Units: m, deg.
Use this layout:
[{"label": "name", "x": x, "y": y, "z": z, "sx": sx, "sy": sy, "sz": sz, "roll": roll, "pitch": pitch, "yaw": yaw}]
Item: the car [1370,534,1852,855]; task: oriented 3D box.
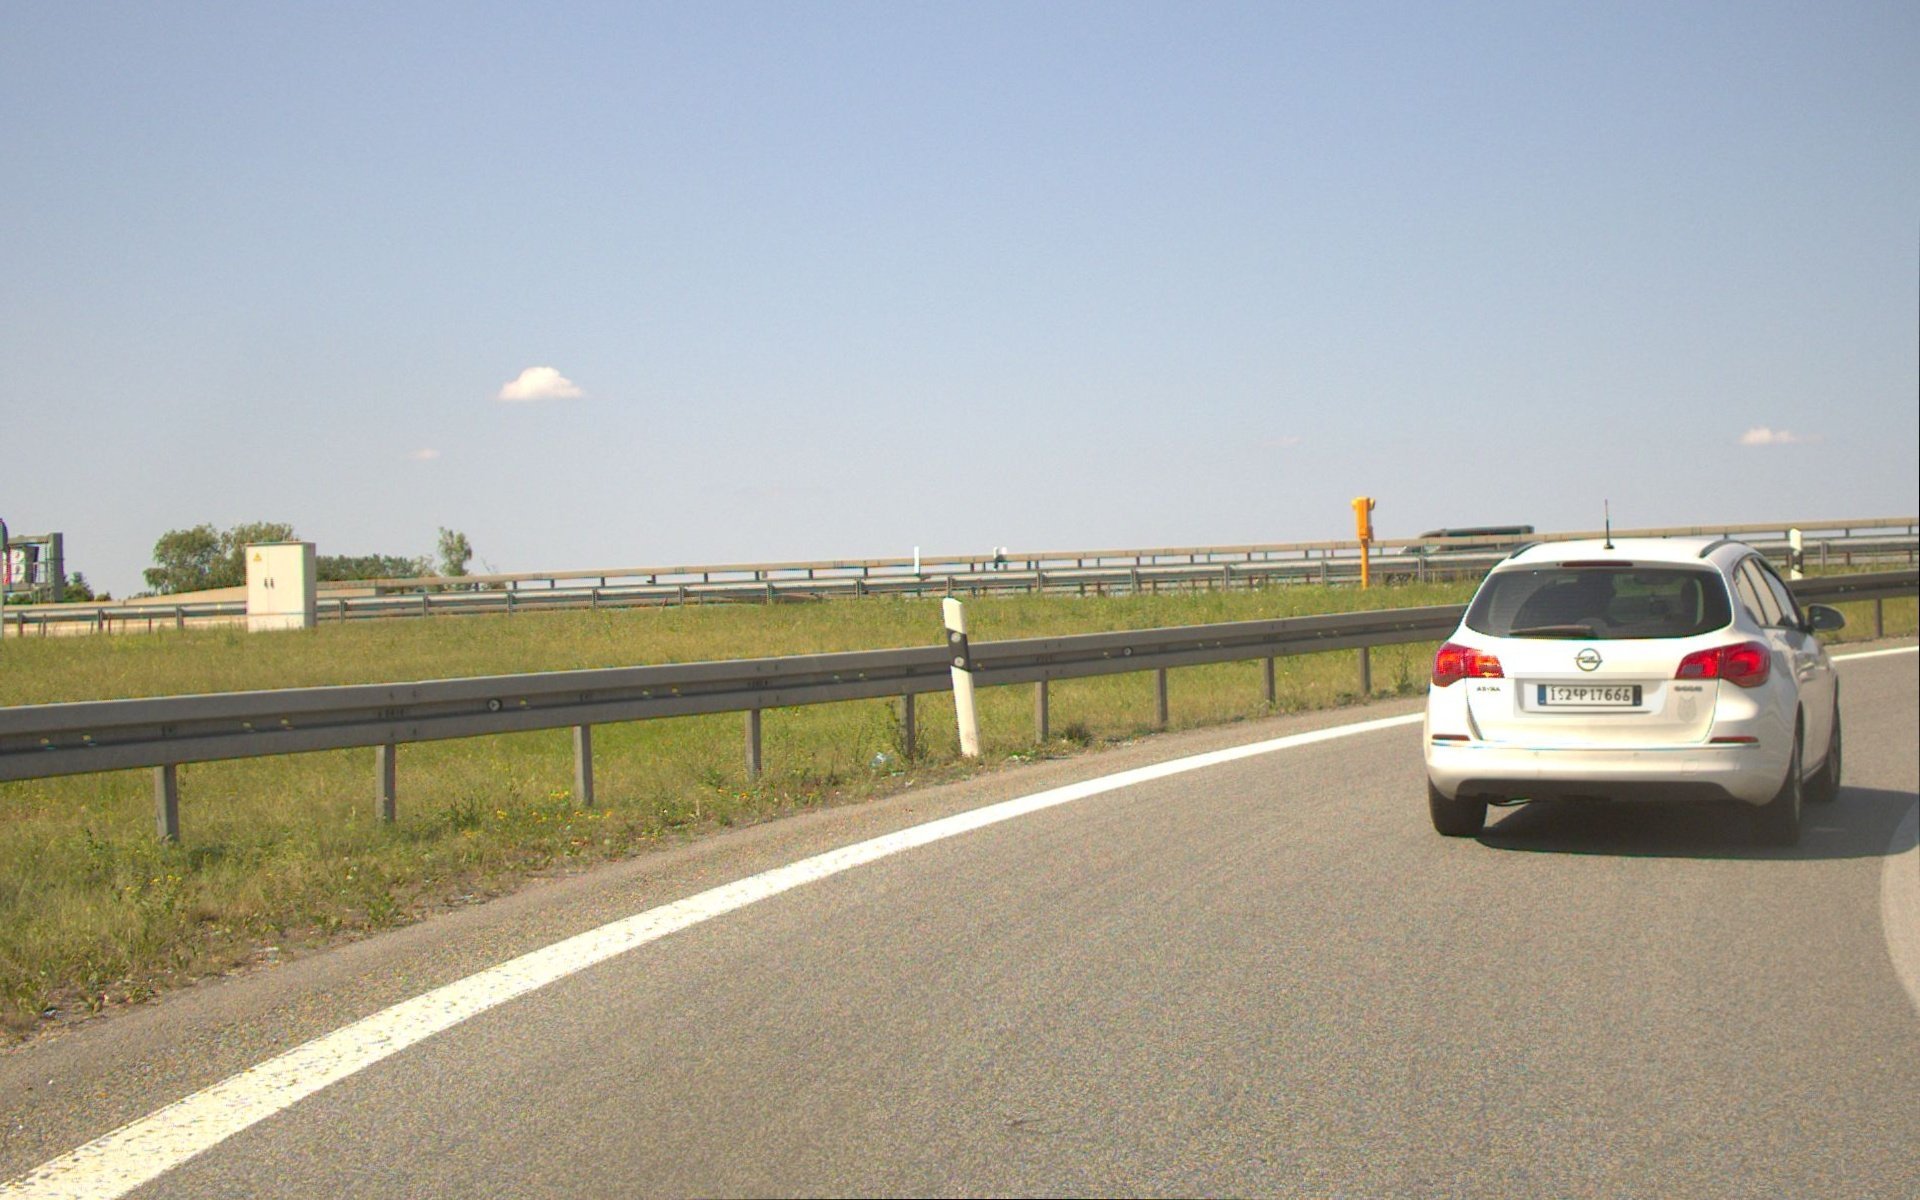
[{"label": "car", "x": 3.524, "y": 0.410, "z": 17.954, "sx": 1.856, "sy": 1.438, "sz": 4.368, "roll": -1, "pitch": 1, "yaw": 19}]
